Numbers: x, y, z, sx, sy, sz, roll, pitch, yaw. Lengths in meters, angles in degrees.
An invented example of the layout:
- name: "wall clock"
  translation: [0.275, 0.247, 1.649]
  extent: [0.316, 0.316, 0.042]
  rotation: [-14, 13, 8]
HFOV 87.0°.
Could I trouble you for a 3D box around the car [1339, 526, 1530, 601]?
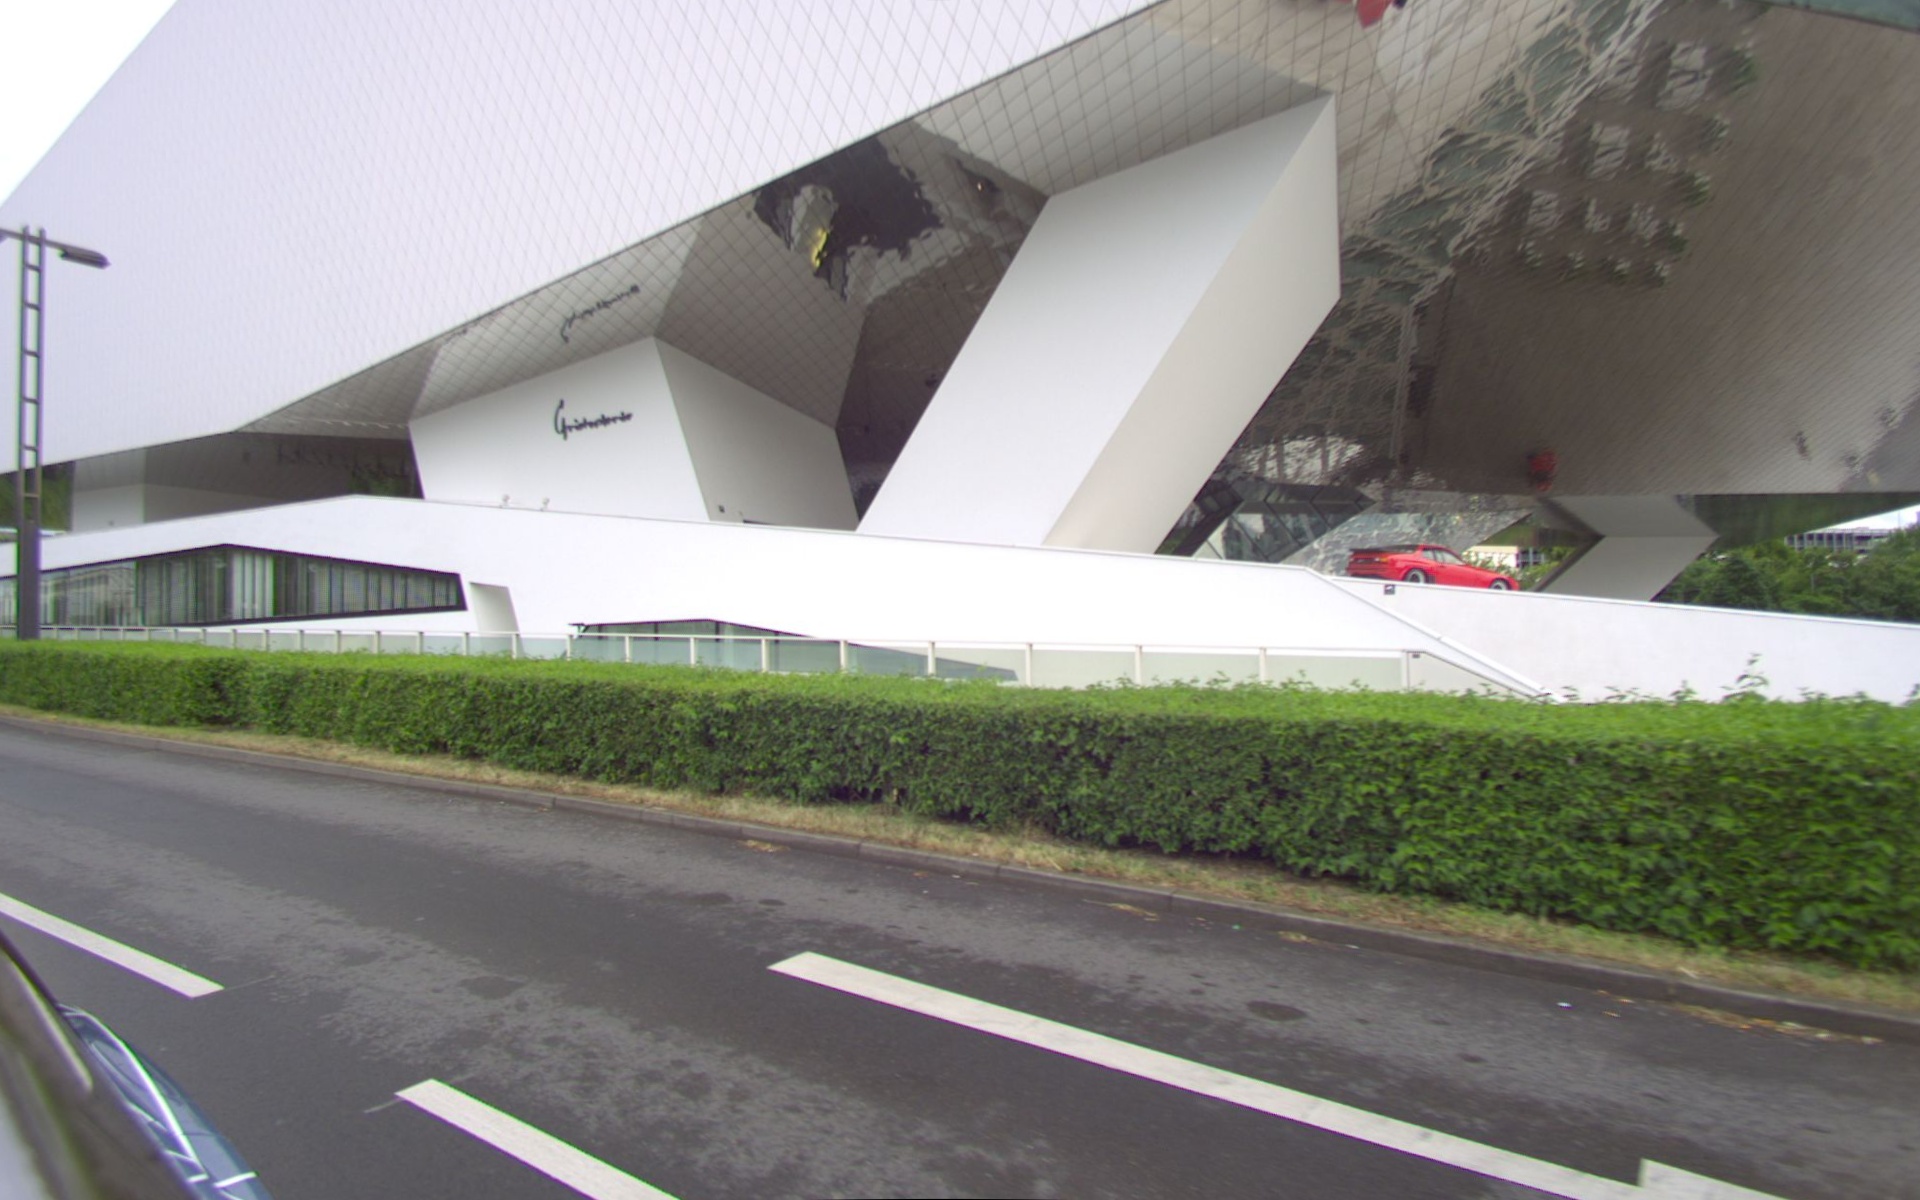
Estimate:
- name: "car"
  translation: [11.666, -0.849, 24.938]
  extent: [4.033, 1.252, 1.642]
  rotation: [7, -3, -13]
